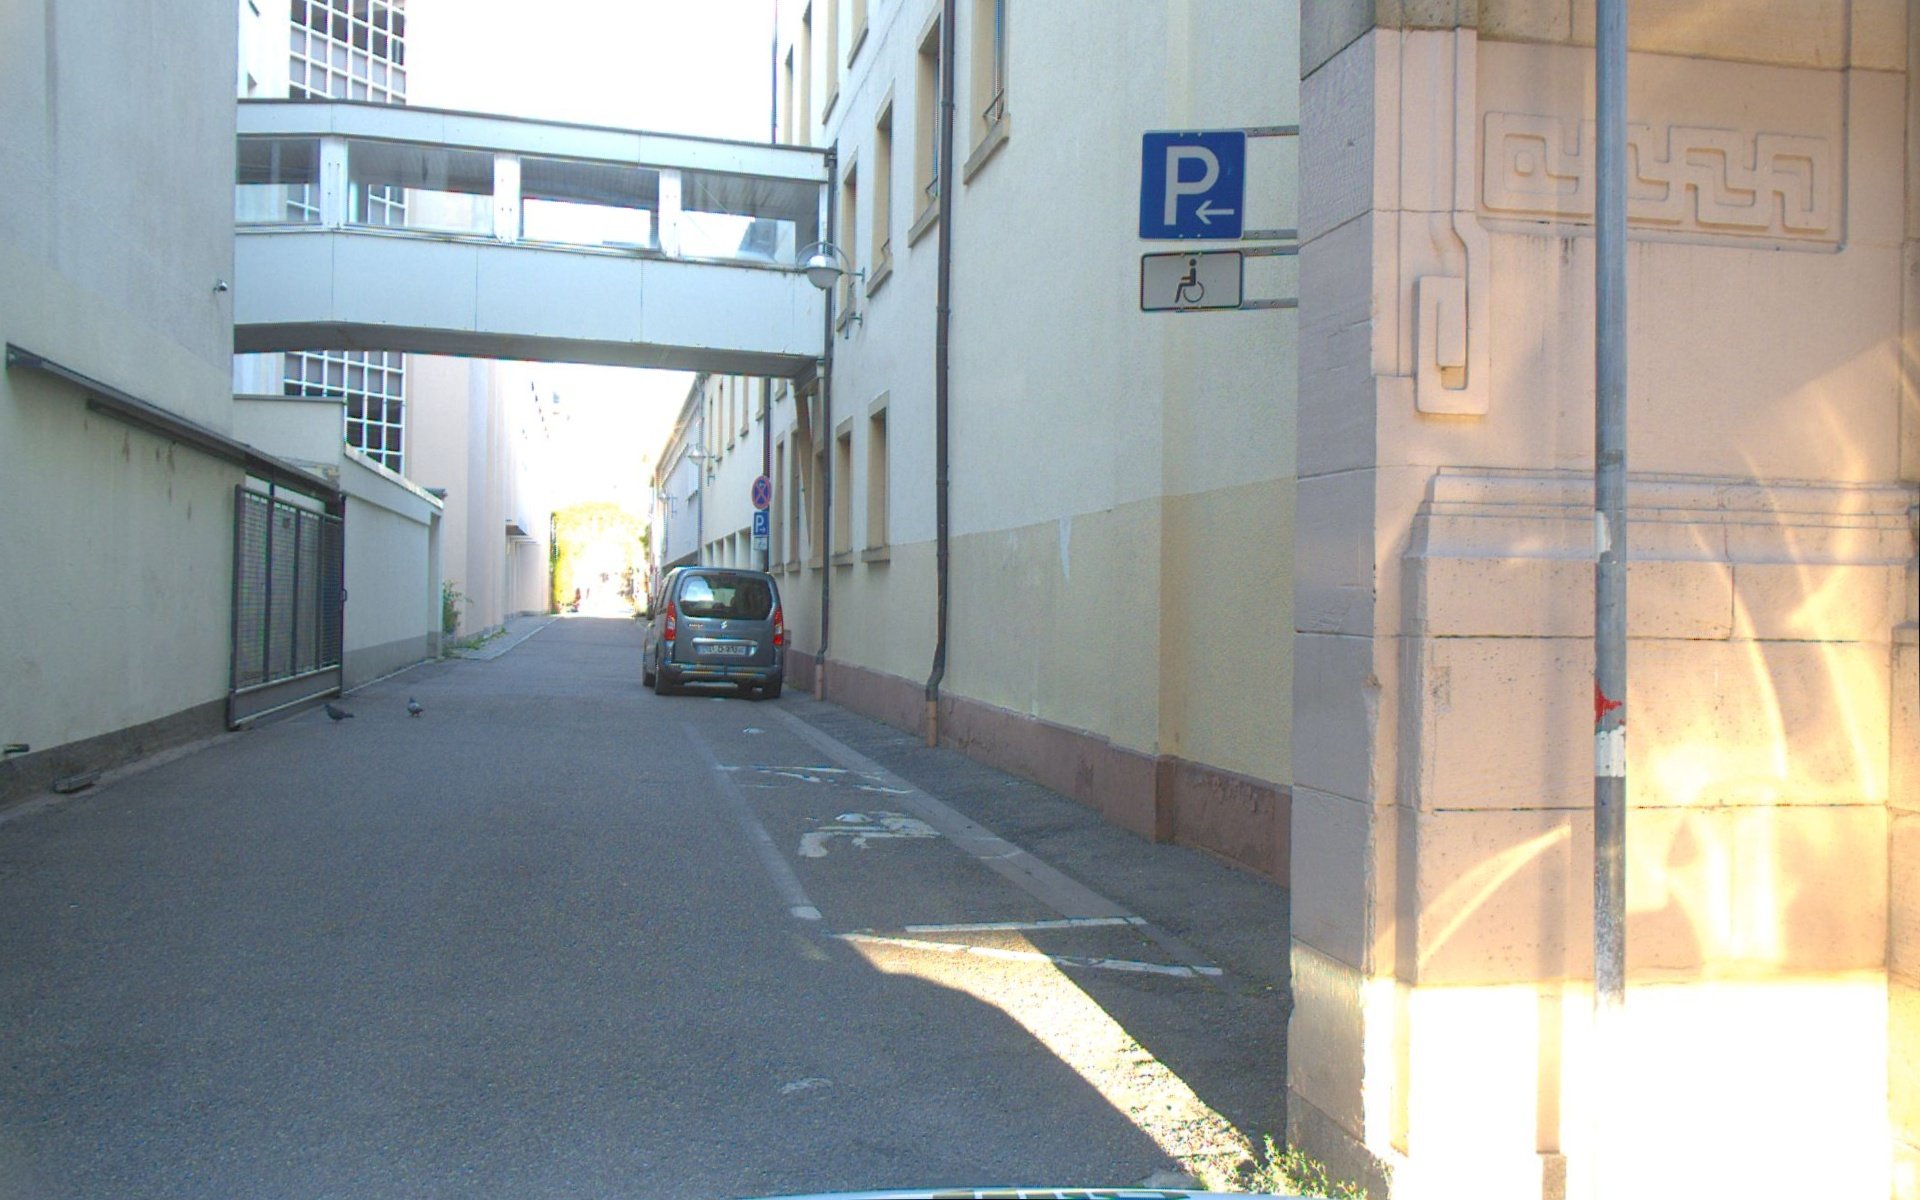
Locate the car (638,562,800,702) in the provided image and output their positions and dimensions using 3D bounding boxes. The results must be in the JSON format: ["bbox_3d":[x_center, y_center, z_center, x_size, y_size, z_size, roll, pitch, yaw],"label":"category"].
[{"bbox_3d":[-3.662,0.444,24.575,1.824,1.786,4.145,4,-1,-15],"label":"car"}]
